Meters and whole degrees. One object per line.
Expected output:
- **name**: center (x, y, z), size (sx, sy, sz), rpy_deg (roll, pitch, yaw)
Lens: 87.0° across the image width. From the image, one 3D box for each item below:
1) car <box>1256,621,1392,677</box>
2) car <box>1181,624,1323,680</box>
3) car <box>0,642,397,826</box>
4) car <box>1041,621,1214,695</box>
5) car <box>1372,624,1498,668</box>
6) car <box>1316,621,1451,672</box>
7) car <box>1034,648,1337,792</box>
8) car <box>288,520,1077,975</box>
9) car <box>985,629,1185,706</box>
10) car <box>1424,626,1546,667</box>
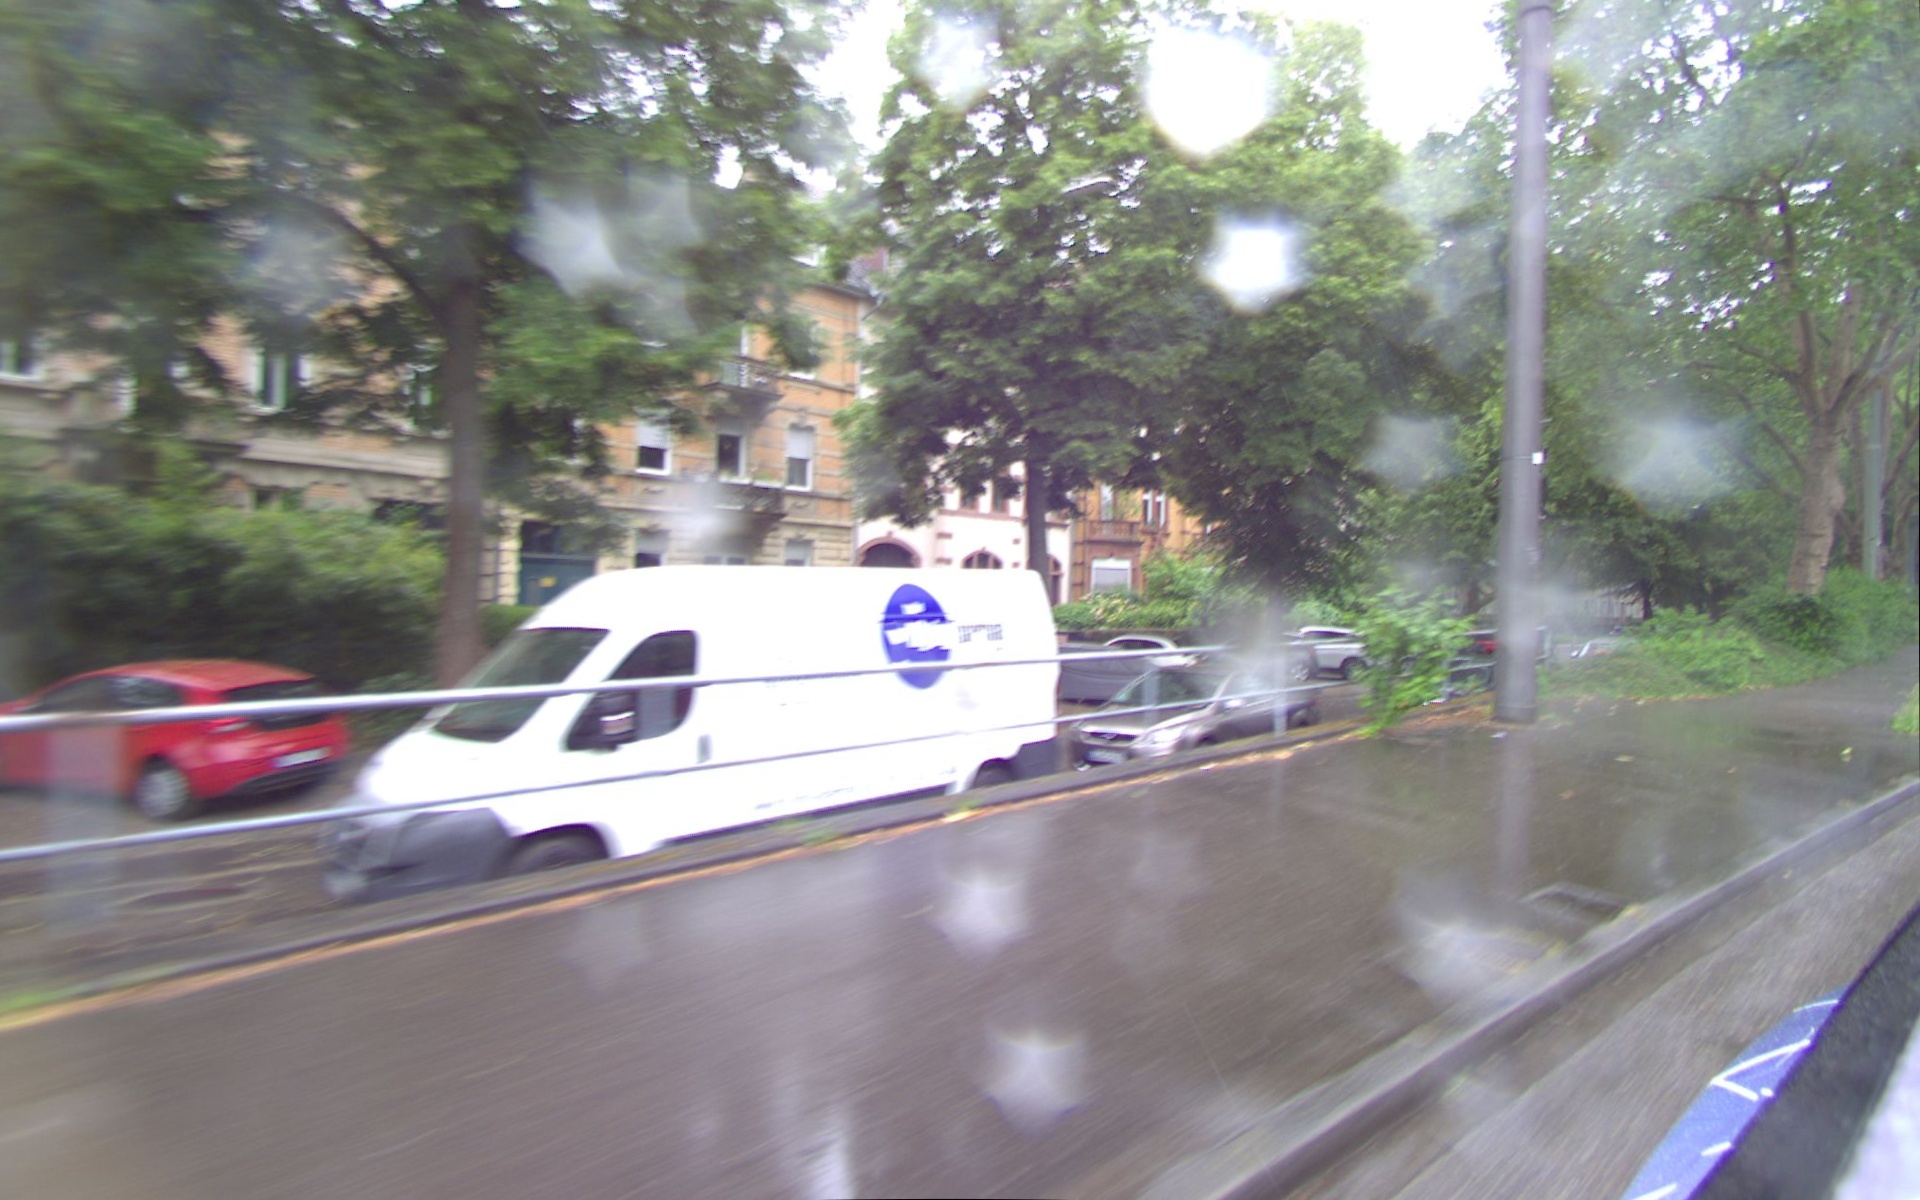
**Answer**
- **car**: center (11.557, 1.535, 32.392), size (3.944, 1.629, 1.816), rpy_deg (0, 0, 17)
- **car**: center (8.681, 1.514, 30.216), size (3.944, 1.482, 1.990), rpy_deg (0, 0, 17)
- **car**: center (-8.695, 1.330, 11.073), size (4.369, 1.471, 1.890), rpy_deg (2, 0, 16)
- **car**: center (4.139, 1.380, 24.974), size (3.954, 1.523, 1.646), rpy_deg (1, 2, 23)
- **car**: center (17.834, 1.702, 38.187), size (3.939, 1.482, 1.905), rpy_deg (0, 0, 13)
- **car**: center (14.377, 1.558, 34.572), size (3.939, 1.585, 1.992), rpy_deg (0, 0, 13)
- **car**: center (3.092, 1.416, 13.302), size (1.966, 1.370, 4.315), rpy_deg (-1, 0, 44)
- **car**: center (-1.779, 0.793, 8.414), size (2.209, 2.451, 6.059), rpy_deg (-1, -1, 45)
- **car**: center (2.817, 1.464, 22.778), size (4.210, 1.397, 1.680), rpy_deg (1, 2, 20)
- **car**: center (20.802, 1.826, 40.223), size (3.939, 1.482, 1.831), rpy_deg (0, 0, 13)
